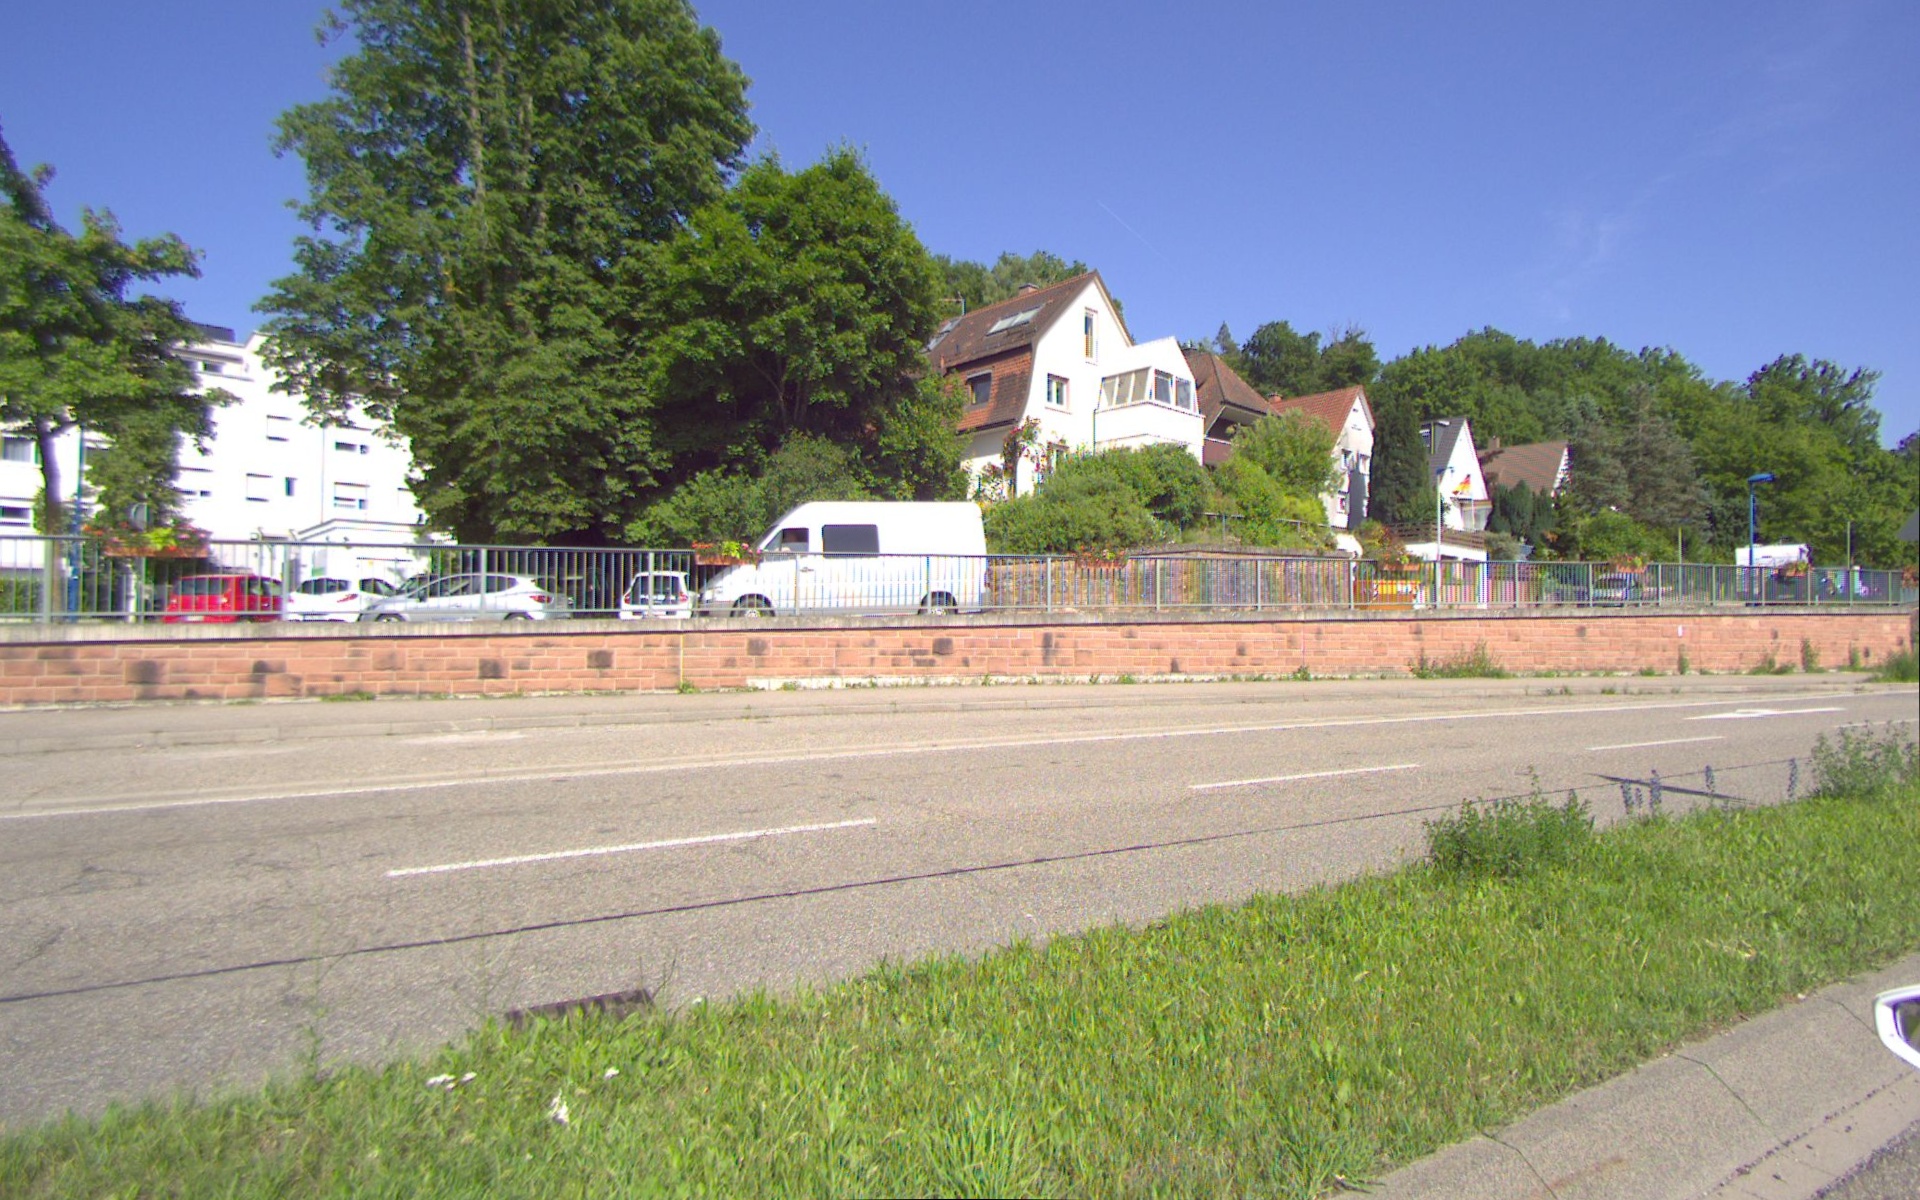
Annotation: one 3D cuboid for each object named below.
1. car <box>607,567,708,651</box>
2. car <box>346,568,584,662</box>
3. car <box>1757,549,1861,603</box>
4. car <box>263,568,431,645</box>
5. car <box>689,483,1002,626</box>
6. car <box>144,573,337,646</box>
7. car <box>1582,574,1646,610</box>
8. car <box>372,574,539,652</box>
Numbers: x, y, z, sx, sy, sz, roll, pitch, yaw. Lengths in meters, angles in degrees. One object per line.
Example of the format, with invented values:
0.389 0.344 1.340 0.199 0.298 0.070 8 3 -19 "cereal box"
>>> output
-7.367 0.154 24.829 1.879 1.901 3.993 0 2 -9 "car"
-10.103 0.311 20.761 3.922 1.813 1.921 1 -1 -2 "car"
32.358 -0.905 38.242 4.686 1.946 2.006 0 2 -37 "car"
-14.784 0.093 24.511 1.877 1.724 3.996 0 2 -5 "car"
-2.216 -0.812 19.382 5.696 2.477 2.090 0 2 -20 "car"
-17.180 0.161 24.260 1.877 1.581 3.998 1 1 -2 "car"
31.397 -0.359 48.193 1.875 1.651 3.976 0 -1 44 "car"
-11.927 0.239 24.083 1.960 1.694 3.999 1 1 0 "car"
